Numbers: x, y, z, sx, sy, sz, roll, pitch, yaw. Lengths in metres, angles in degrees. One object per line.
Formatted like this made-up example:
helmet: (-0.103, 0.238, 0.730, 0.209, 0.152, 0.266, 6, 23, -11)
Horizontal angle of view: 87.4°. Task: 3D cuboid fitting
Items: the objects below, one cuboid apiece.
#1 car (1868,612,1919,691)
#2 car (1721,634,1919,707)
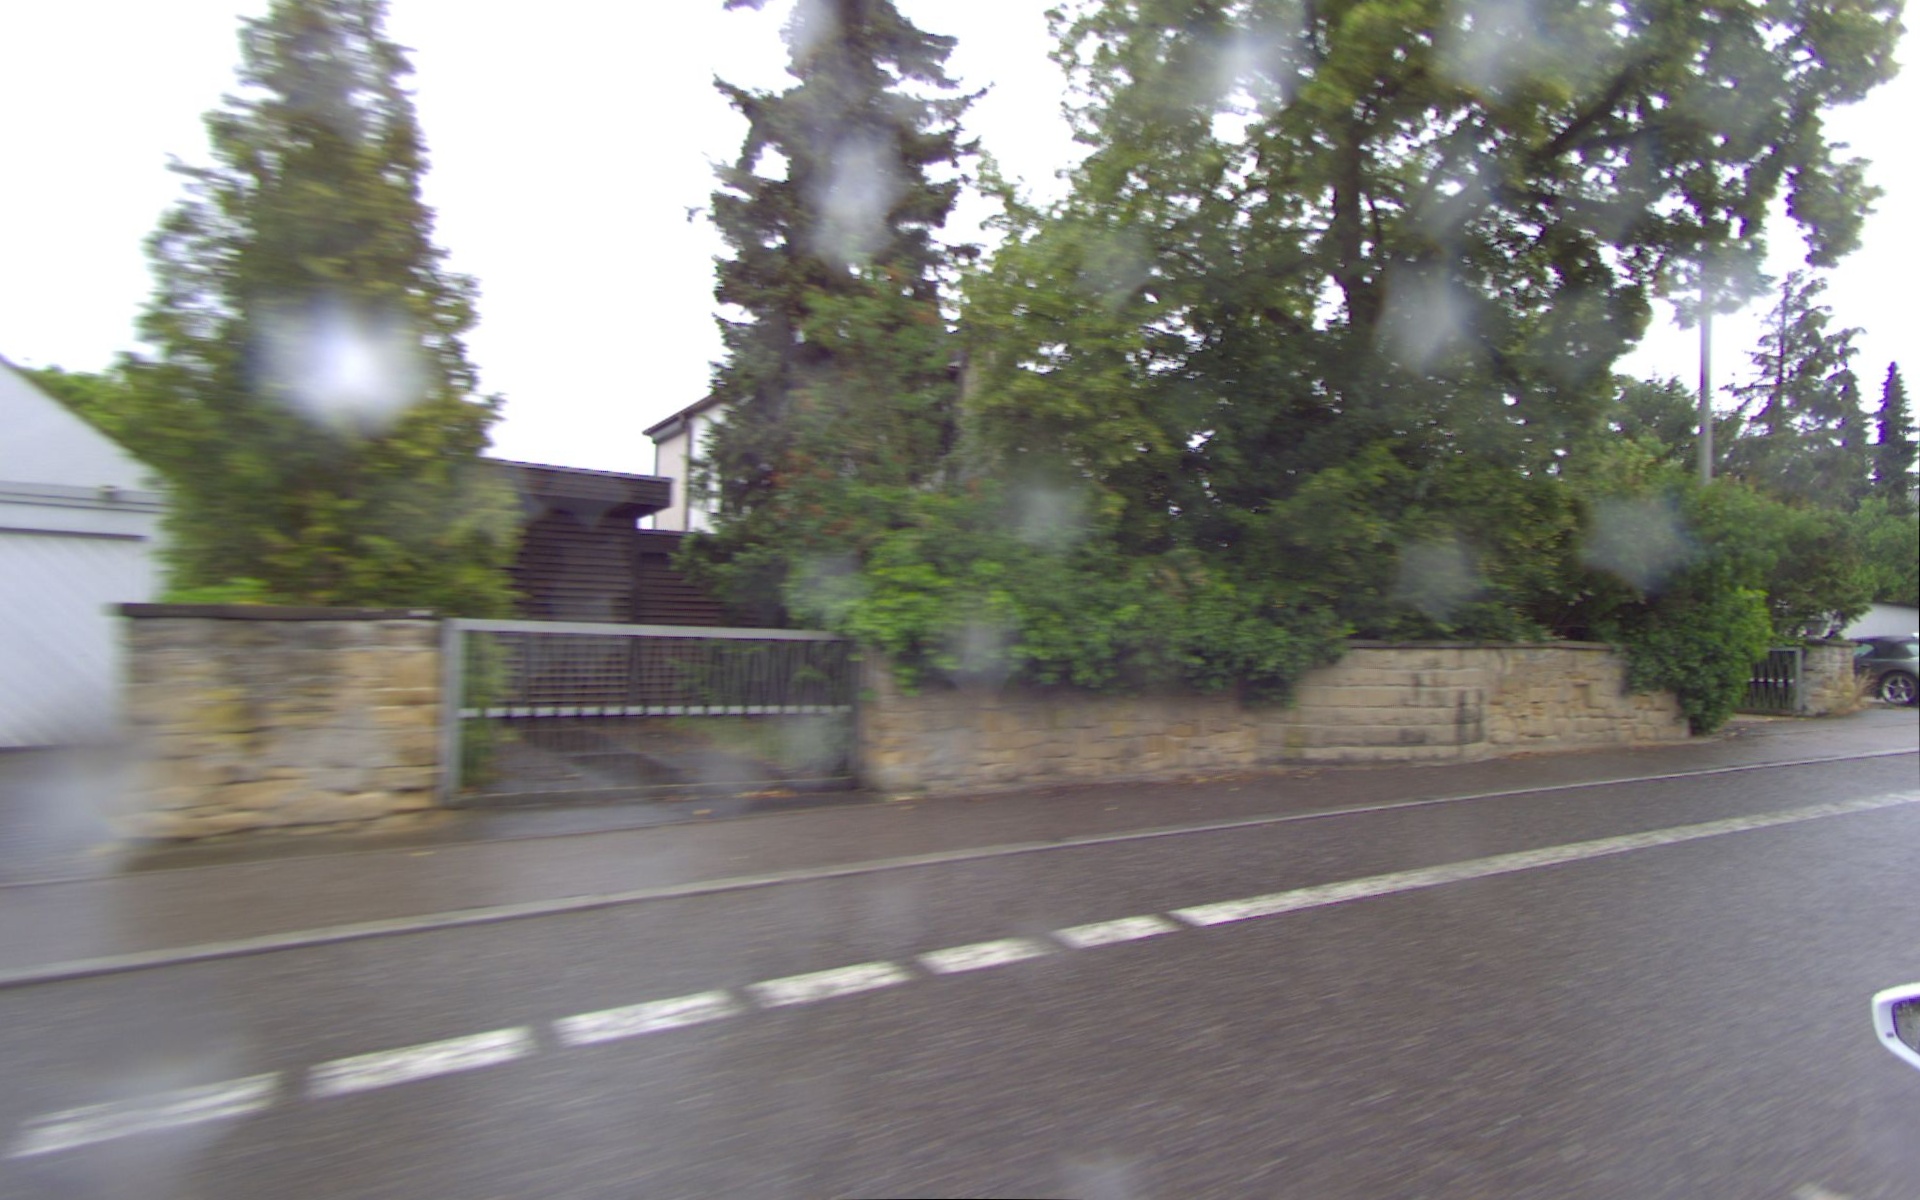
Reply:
car: (25.068, 1.238, 24.600, 5.396, 1.868, 1.991, 1, -1, -21)
car: (17.752, 1.335, 19.877, 1.843, 1.288, 3.986, 1, -1, -17)
